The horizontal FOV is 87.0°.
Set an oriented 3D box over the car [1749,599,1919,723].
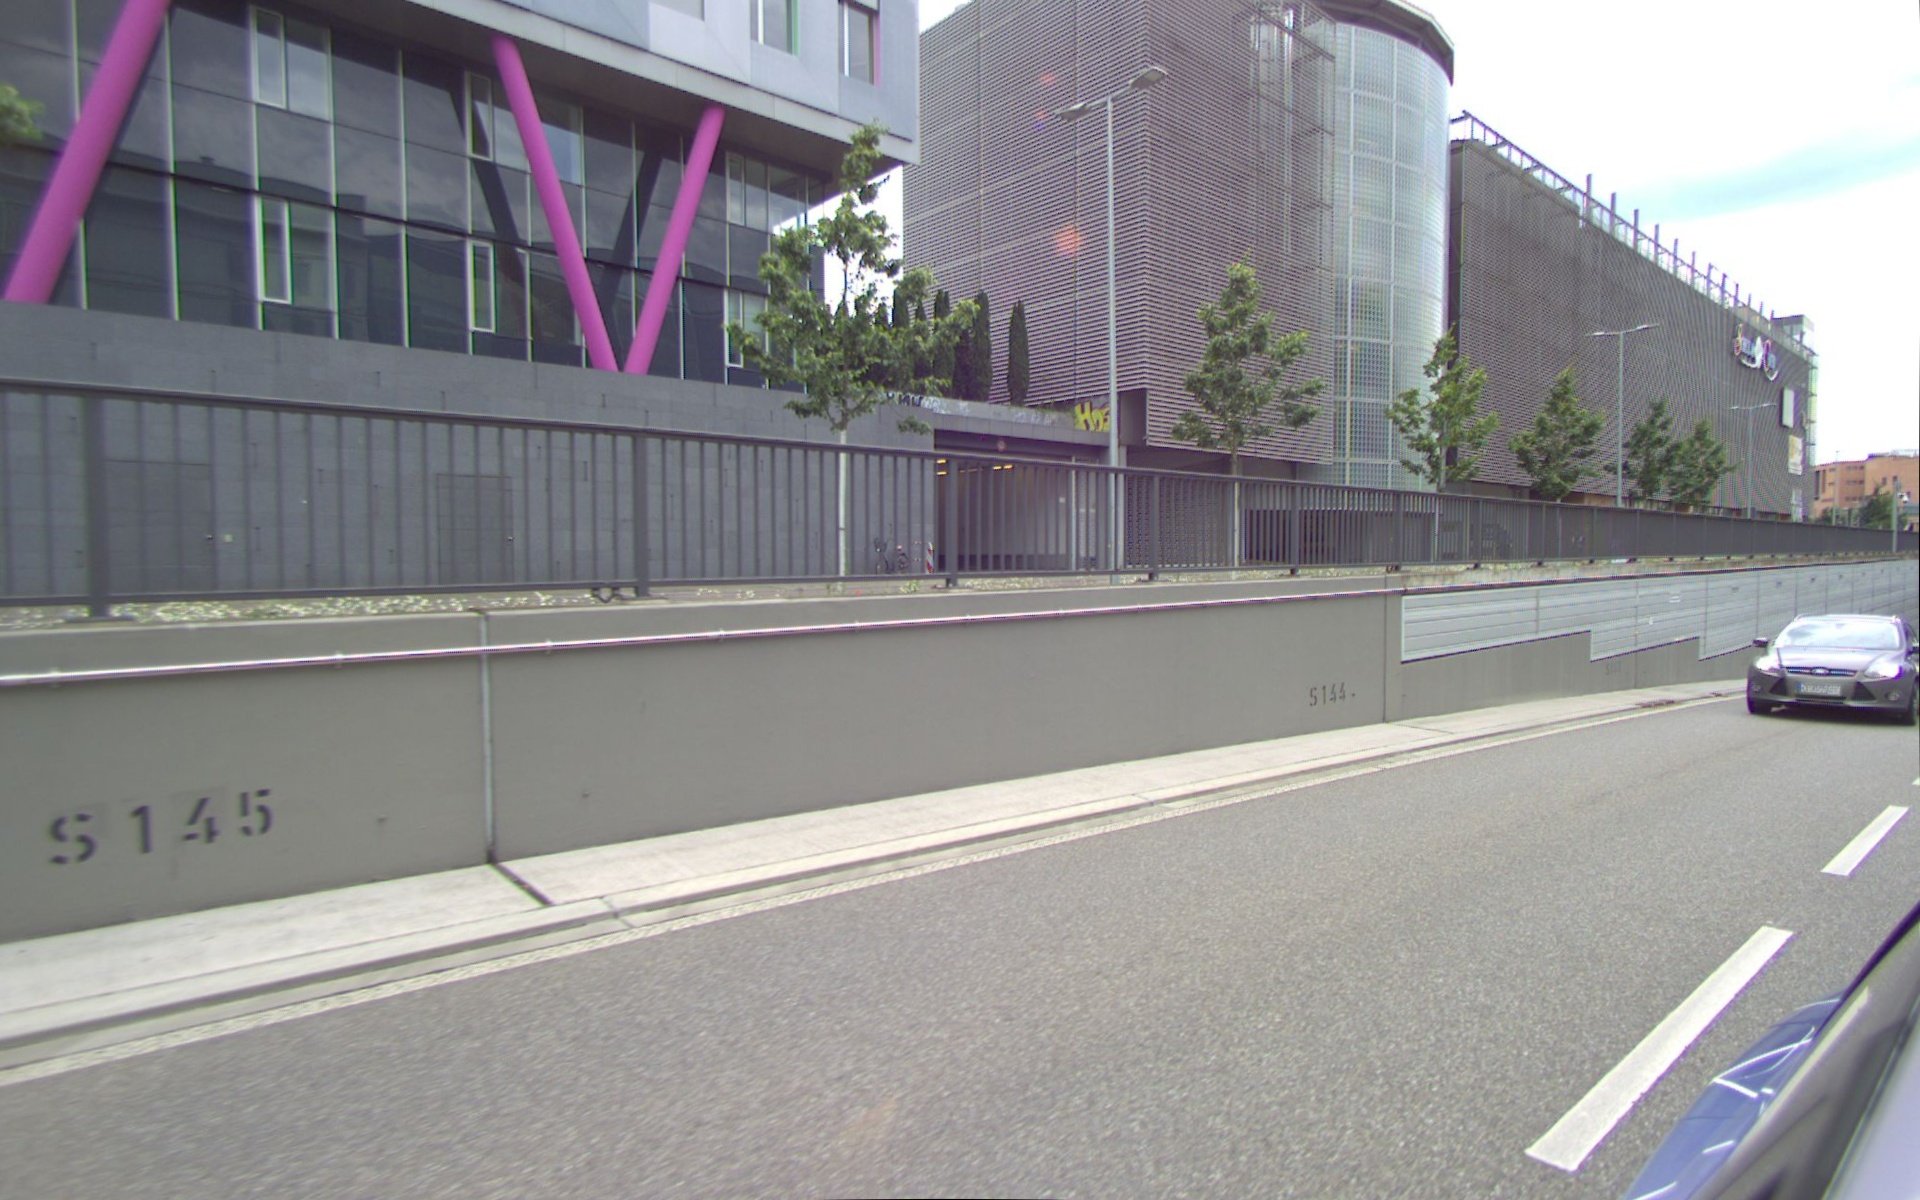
[{"bbox_3d":[13.103,0.786,14.735,4.193,1.518,1.751,1,1,-41],"label":"car"}]
